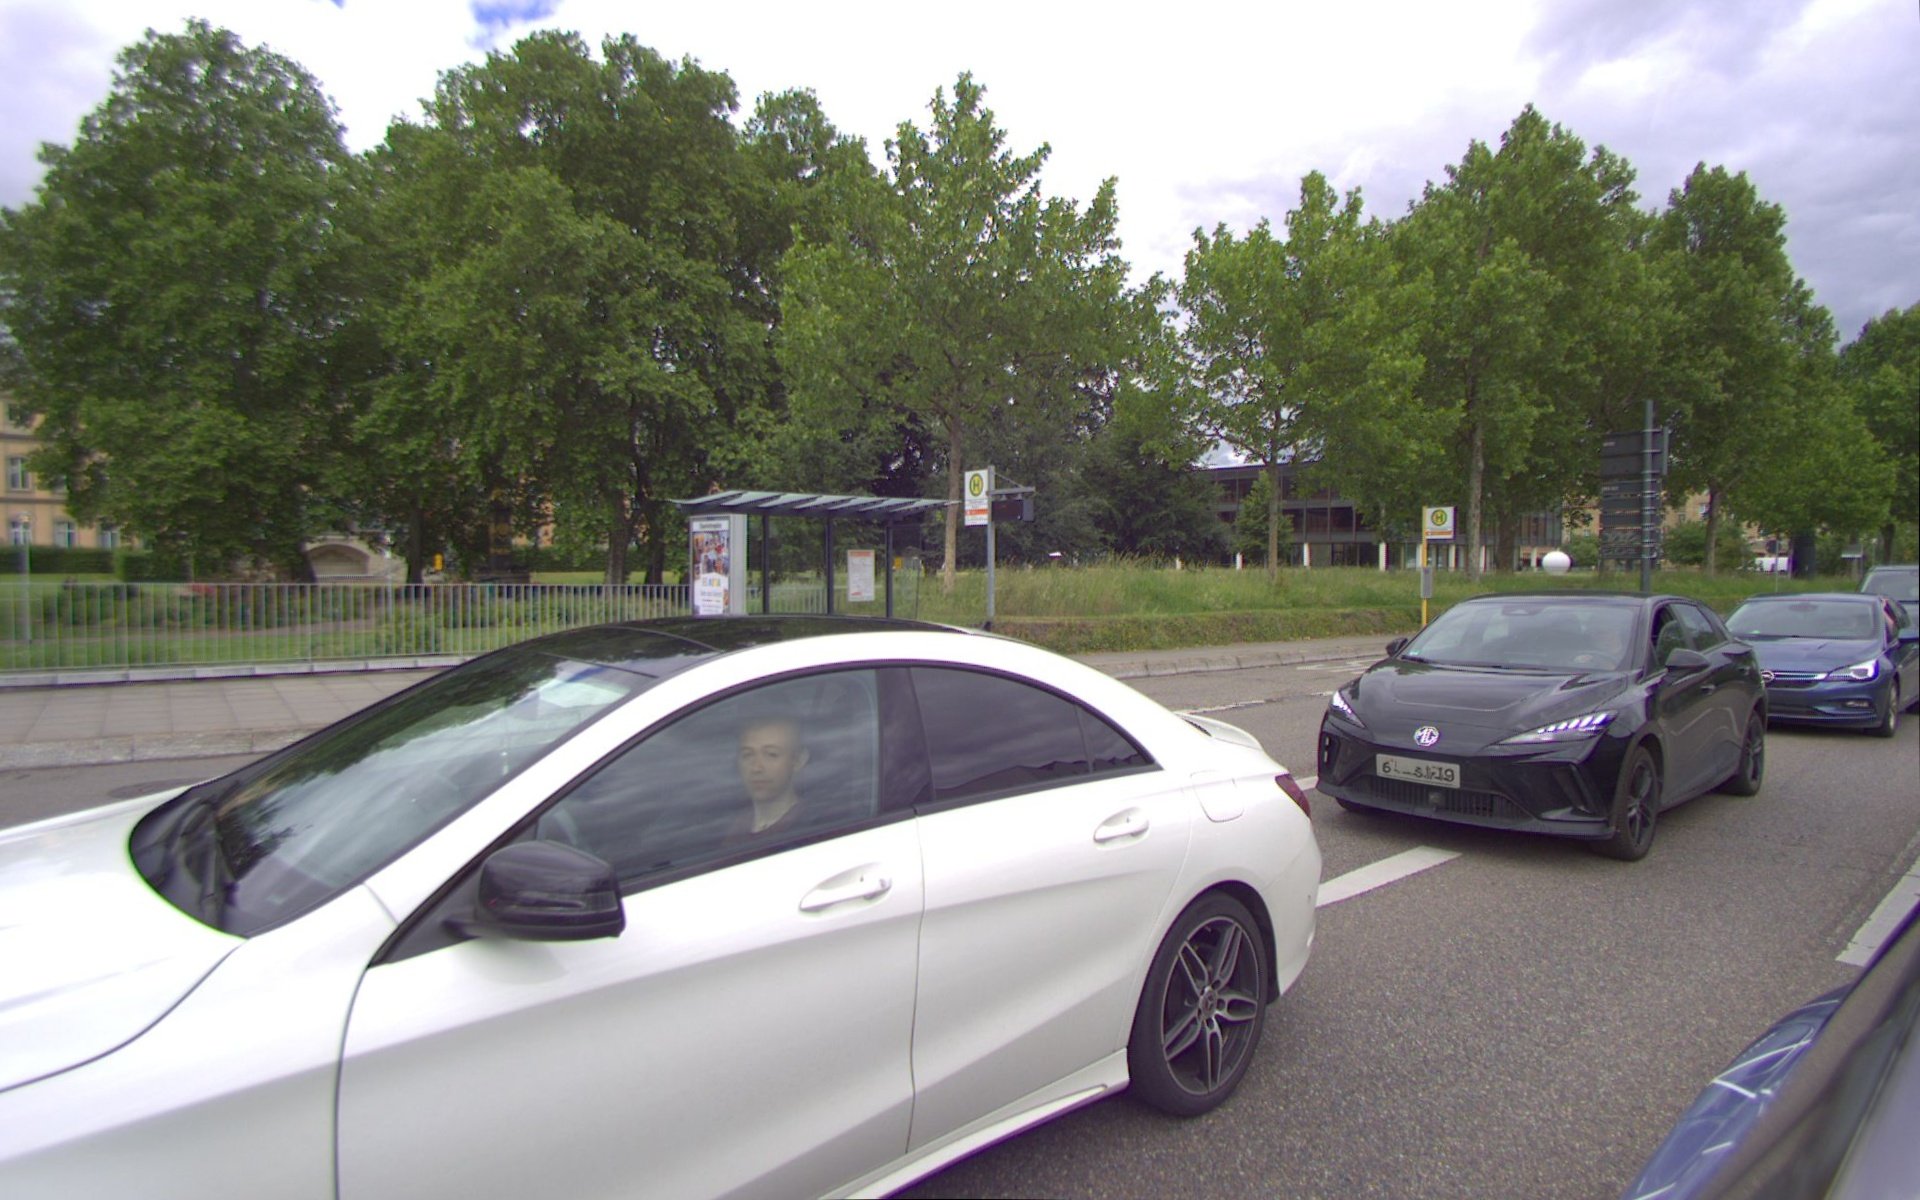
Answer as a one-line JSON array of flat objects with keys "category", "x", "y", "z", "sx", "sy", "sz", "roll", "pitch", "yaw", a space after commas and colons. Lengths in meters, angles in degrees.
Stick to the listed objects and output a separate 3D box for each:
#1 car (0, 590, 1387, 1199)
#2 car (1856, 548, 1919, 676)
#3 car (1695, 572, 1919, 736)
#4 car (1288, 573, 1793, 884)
[{"category": "car", "x": -0.737, "y": 0.712, "z": 2.745, "sx": 4.427, "sy": 1.441, "sz": 1.722, "roll": -1, "pitch": 1, "yaw": -41}, {"category": "car", "x": 15.815, "y": 0.153, "z": 16.143, "sx": 4.353, "sy": 1.885, "sz": 1.722, "roll": -1, "pitch": 1, "yaw": -41}, {"category": "car", "x": 9.874, "y": 0.475, "z": 11.479, "sx": 3.930, "sy": 1.556, "sz": 1.572, "roll": -1, "pitch": 1, "yaw": -40}, {"category": "car", "x": 4.198, "y": 0.625, "z": 7.045, "sx": 4.047, "sy": 1.543, "sz": 1.828, "roll": 0, "pitch": 0, "yaw": -41}]
